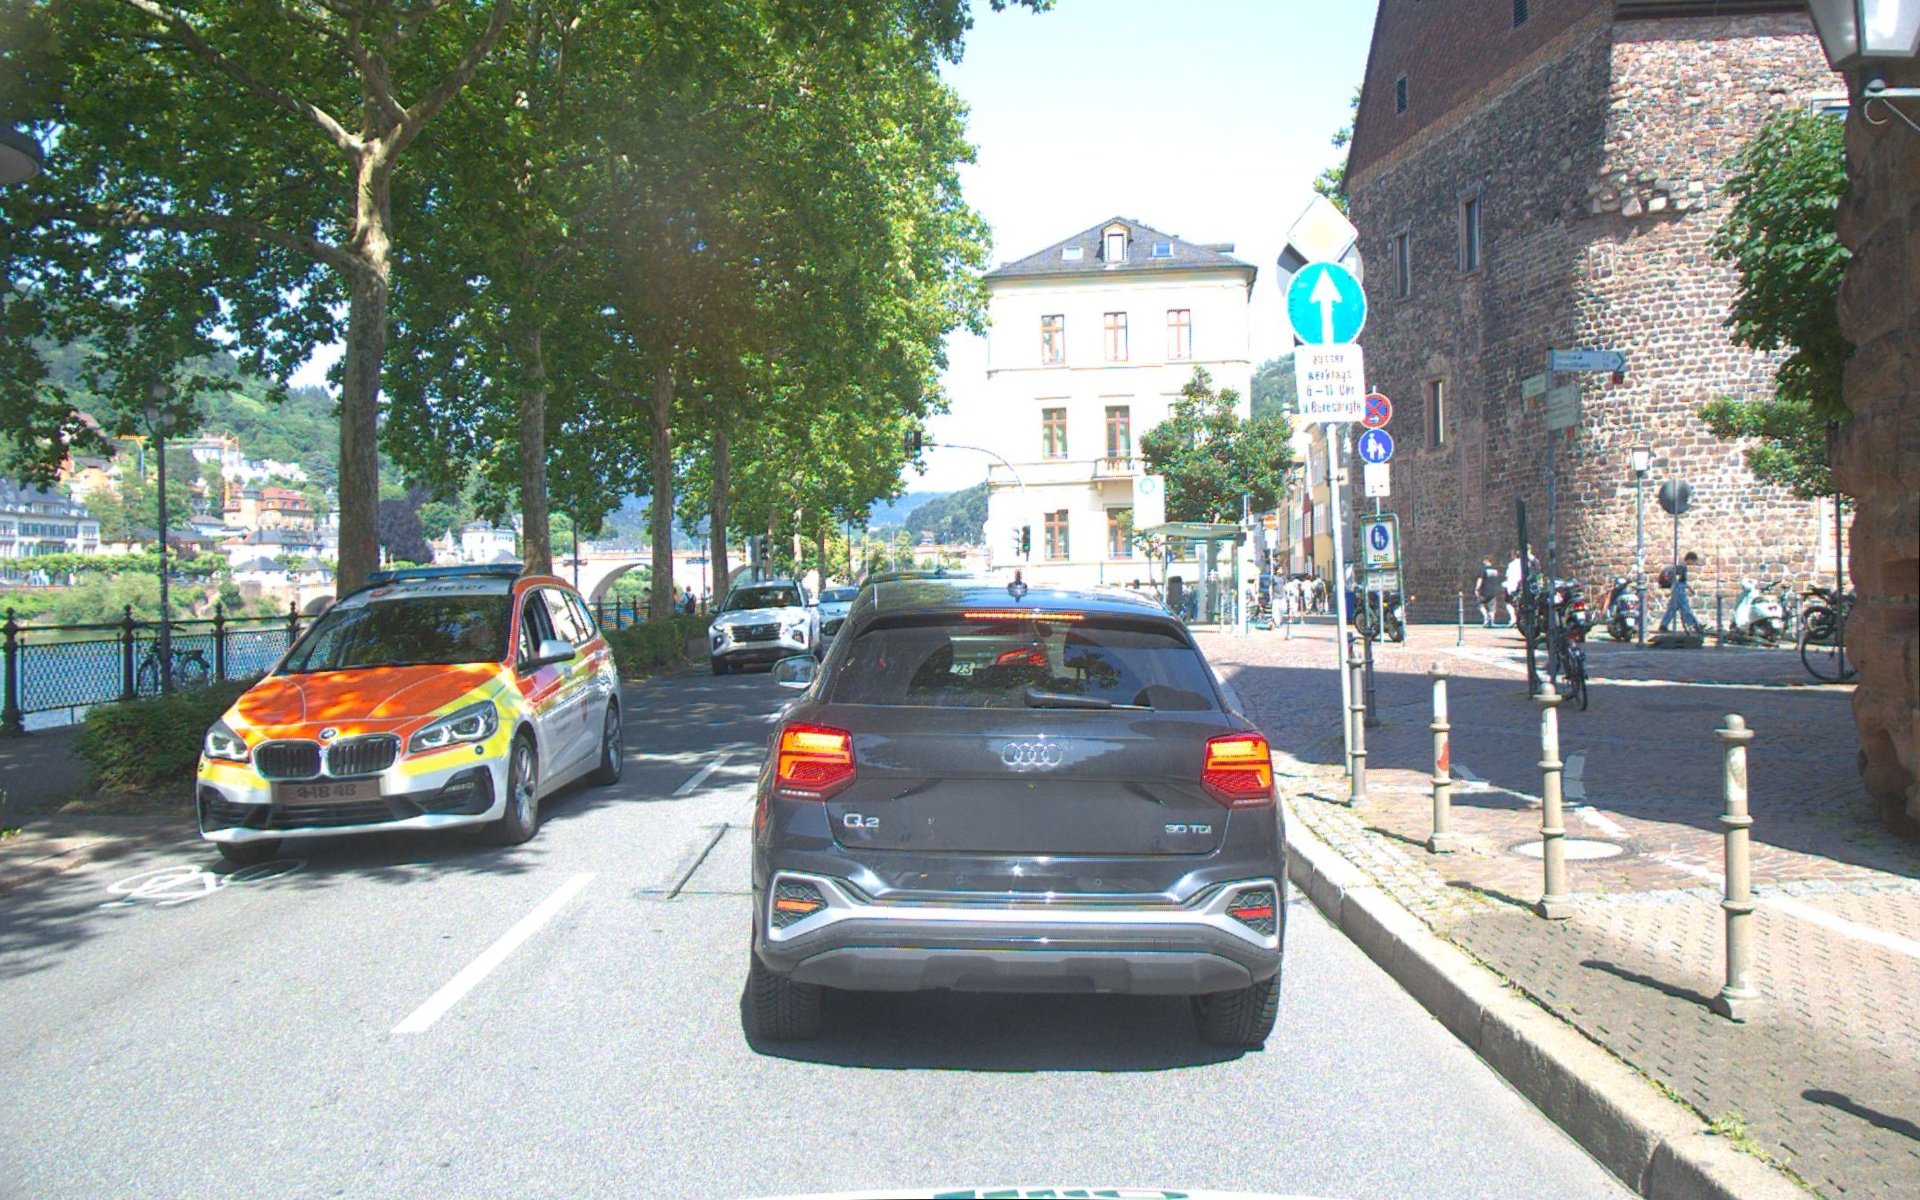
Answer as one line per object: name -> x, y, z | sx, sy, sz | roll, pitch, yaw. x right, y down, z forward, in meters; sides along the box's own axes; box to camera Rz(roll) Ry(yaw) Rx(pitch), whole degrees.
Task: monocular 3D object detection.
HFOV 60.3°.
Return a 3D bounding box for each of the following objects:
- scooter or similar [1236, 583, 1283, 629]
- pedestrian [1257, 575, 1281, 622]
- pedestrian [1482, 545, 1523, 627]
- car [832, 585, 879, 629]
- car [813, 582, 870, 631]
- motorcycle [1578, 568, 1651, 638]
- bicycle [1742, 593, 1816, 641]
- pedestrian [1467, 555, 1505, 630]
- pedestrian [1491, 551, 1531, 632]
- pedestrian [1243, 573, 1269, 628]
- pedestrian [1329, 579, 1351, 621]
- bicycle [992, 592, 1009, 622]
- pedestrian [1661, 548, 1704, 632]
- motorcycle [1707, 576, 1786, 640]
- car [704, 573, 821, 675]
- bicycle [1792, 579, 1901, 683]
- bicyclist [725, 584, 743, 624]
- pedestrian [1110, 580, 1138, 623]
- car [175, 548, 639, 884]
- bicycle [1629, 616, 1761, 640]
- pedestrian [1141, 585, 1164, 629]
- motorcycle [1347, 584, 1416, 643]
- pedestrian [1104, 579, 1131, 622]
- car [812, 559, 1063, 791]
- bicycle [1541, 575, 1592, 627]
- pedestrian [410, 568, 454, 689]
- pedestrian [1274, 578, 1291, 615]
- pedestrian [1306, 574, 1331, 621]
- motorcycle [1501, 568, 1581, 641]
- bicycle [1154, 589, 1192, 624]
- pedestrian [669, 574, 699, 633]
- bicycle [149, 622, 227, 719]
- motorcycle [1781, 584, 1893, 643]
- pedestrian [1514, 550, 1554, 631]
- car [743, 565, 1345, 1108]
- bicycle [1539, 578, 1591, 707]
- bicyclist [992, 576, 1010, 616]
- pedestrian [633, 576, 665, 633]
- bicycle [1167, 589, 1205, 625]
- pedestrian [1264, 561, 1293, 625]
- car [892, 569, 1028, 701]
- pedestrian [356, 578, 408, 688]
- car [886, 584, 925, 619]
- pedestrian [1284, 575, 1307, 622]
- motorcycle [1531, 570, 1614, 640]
scooter or similar -> 7.154, 0.145, 39.537 | 1.067, 1.084, 0.323 | 1, -1, -3
pedestrian -> 13.864, -0.066, 74.218 | 0.925, 2.049, 0.807 | 1, -1, -1
pedestrian -> 13.711, -0.351, 41.822 | 0.715, 2.049, 0.878 | 1, -1, -1
car -> -4.784, 0.288, 76.492 | 1.777, 1.754, 4.421 | -6, 1, -1
car -> -4.289, 0.212, 60.368 | 1.703, 1.599, 4.091 | -4, 1, -1
motorcycle -> 12.292, 0.055, 31.102 | 0.535, 1.257, 2.030 | 1, 0, -1
bicycle -> 15.131, 0.292, 30.612 | 0.346, 0.835, 1.926 | 1, 1, -2
pedestrian -> 13.029, -0.182, 40.971 | 0.639, 1.834, 0.847 | 0, 0, -2
pedestrian -> 13.250, -0.192, 39.763 | 0.655, 1.917, 0.821 | 1, -1, -2
pedestrian -> 7.632, 0.018, 42.674 | 0.546, 1.409, 0.588 | 1, -1, 1
pedestrian -> 15.429, 0.002, 67.206 | 0.677, 1.640, 0.891 | -2, 0, 23
bicycle -> 1.518, 0.253, 62.202 | 0.428, 1.105, 1.675 | 1, 0, -5
pedestrian -> 14.869, -0.206, 34.049 | 0.791, 1.691, 0.656 | -1, 0, 23
motorcycle -> 14.002, 0.141, 29.489 | 0.496, 1.092, 1.839 | 1, 0, -1
car -> -3.681, 0.417, 31.435 | 1.733, 1.689, 3.999 | -4, 0, -1
bicycle -> 10.599, 0.343, 19.836 | 0.437, 1.182, 1.731 | -1, 1, 3
bicyclist -> -7.603, 0.137, 55.655 | 0.555, 1.334, 0.551 | 1, -1, -5
pedestrian -> 4.764, 0.036, 48.076 | 0.651, 1.233, 0.640 | 1, -1, -7
car -> -3.382, 0.606, 11.009 | 1.640, 1.689, 4.222 | -4, 0, -1
bicycle -> 12.299, 0.468, 27.725 | 1.887, 0.388, 0.918 | 0, -1, 14
pedestrian -> 6.783, 0.247, 58.288 | 0.679, 1.526, 0.513 | 1, -1, -5
motorcycle -> 7.695, 0.225, 30.285 | 0.555, 1.030, 2.489 | -1, 0, -2
pedestrian -> 4.661, 0.013, 48.964 | 0.651, 1.253, 0.640 | 1, -1, -7
car -> -0.184, 0.521, 13.457 | 1.756, 1.623, 3.398 | 1, 0, -1
bicycle -> 14.796, 0.033, 40.409 | 0.381, 1.230, 1.715 | 1, 0, -9
pedestrian -> -8.460, 0.449, 26.512 | 0.523, 1.920, 0.436 | 1, 0, -1
pedestrian -> 13.919, -0.143, 71.411 | 0.609, 1.558, 0.466 | 1, -1, 0
pedestrian -> 15.843, -0.127, 73.062 | 0.921, 2.049, 0.807 | 1, -1, -1
motorcycle -> 10.575, 0.088, 30.183 | 0.642, 1.288, 2.199 | 0, 0, -1
bicycle -> 6.407, 0.192, 49.640 | 1.166, 1.033, 0.178 | 1, -1, -20
pedestrian -> -9.604, 0.120, 57.533 | 0.891, 2.049, 0.586 | 1, -1, 3
bicycle -> -9.529, 0.853, 20.452 | 0.352, 1.110, 1.295 | 2, 0, -2
motorcycle -> 16.643, 0.250, 31.403 | 1.826, 1.072, 0.480 | 1, -1, 7
pedestrian -> 13.977, -0.226, 40.267 | 0.655, 1.954, 0.821 | 1, -1, -2
car -> 0.218, 0.662, 6.572 | 1.707, 1.535, 3.646 | 1, 1, -1
bicycle -> 6.151, 0.399, 16.857 | 0.189, 1.225, 1.771 | 0, 1, 10
bicyclist -> 1.552, -0.139, 62.145 | 0.593, 1.475, 0.590 | 1, -1, -6
pedestrian -> -10.303, 0.149, 54.788 | 0.891, 1.843, 0.586 | 1, -1, 3
bicycle -> 6.701, 0.212, 49.031 | 1.184, 1.053, 0.178 | 1, -1, -20
pedestrian -> 9.701, -0.224, 50.340 | 0.732, 1.923, 0.752 | 1, -1, 1
car -> -0.024, 0.418, 22.317 | 1.676, 1.637, 3.654 | 0, 0, -1
pedestrian -> -9.174, 0.519, 26.262 | 0.589, 1.715, 0.583 | -1, 0, -2
car -> -2.946, 0.091, 90.246 | 1.952, 1.838, 4.000 | 1, 0, 1
pedestrian -> 14.816, -0.047, 73.048 | 0.822, 2.049, 0.738 | 1, -1, -1
motorcycle -> 11.430, 0.091, 30.930 | 0.661, 1.257, 2.312 | 1, 0, -1
